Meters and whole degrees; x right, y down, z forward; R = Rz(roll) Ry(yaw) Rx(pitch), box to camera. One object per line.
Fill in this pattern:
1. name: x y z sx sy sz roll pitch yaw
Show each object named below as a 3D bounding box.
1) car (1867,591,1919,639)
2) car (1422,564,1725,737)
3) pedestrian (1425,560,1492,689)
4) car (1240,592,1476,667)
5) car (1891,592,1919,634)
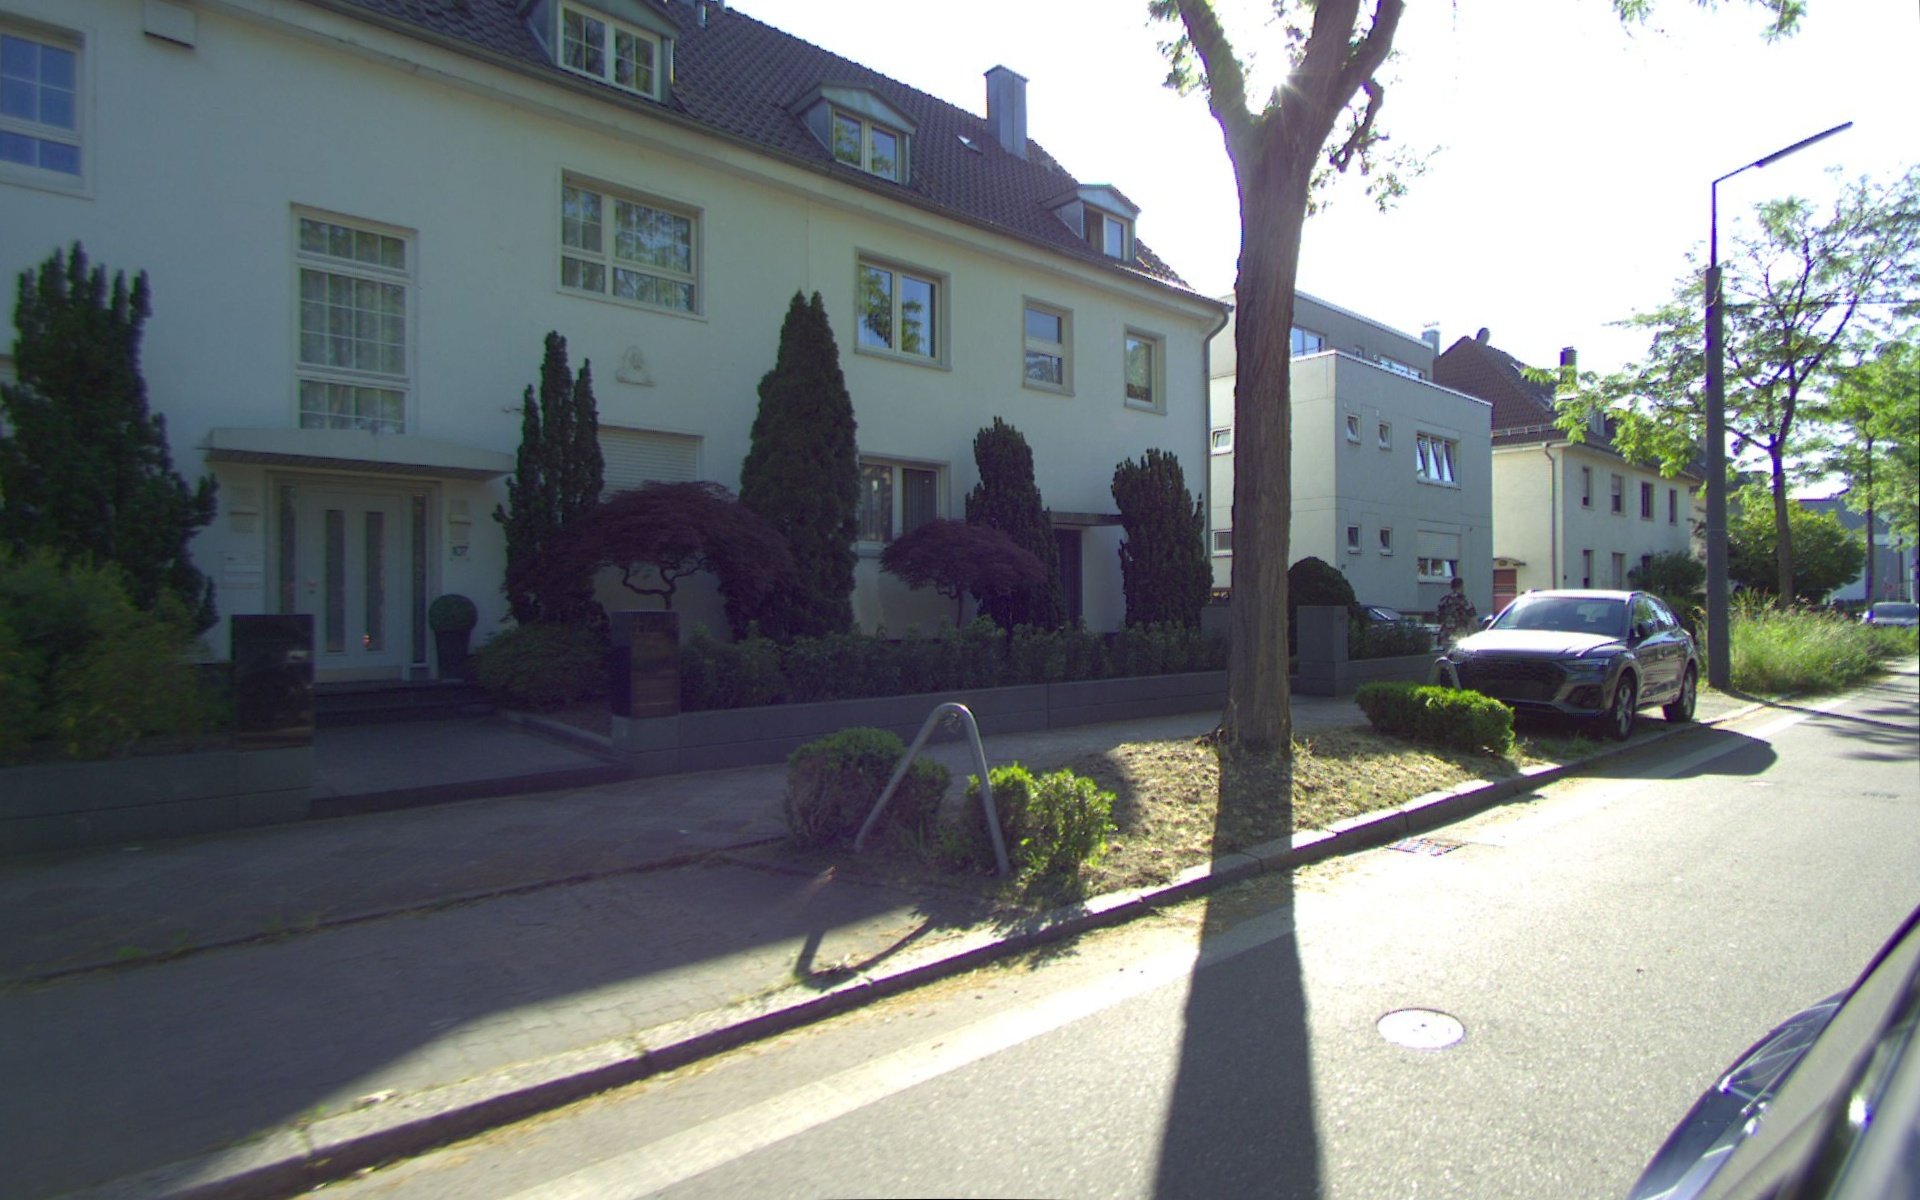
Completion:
1. car: 31.763 0.473 33.797 3.927 1.513 1.751 0 1 -41
2. car: 7.722 0.485 12.562 4.400 1.725 1.997 0 3 -42
3. pedestrian: 7.571 0.355 15.364 0.719 1.893 0.626 0 2 -42
4. car: 7.908 0.526 20.390 1.844 1.359 4.058 0 0 -41
5. car: 36.308 0.467 37.844 4.366 1.513 1.751 0 1 -41
